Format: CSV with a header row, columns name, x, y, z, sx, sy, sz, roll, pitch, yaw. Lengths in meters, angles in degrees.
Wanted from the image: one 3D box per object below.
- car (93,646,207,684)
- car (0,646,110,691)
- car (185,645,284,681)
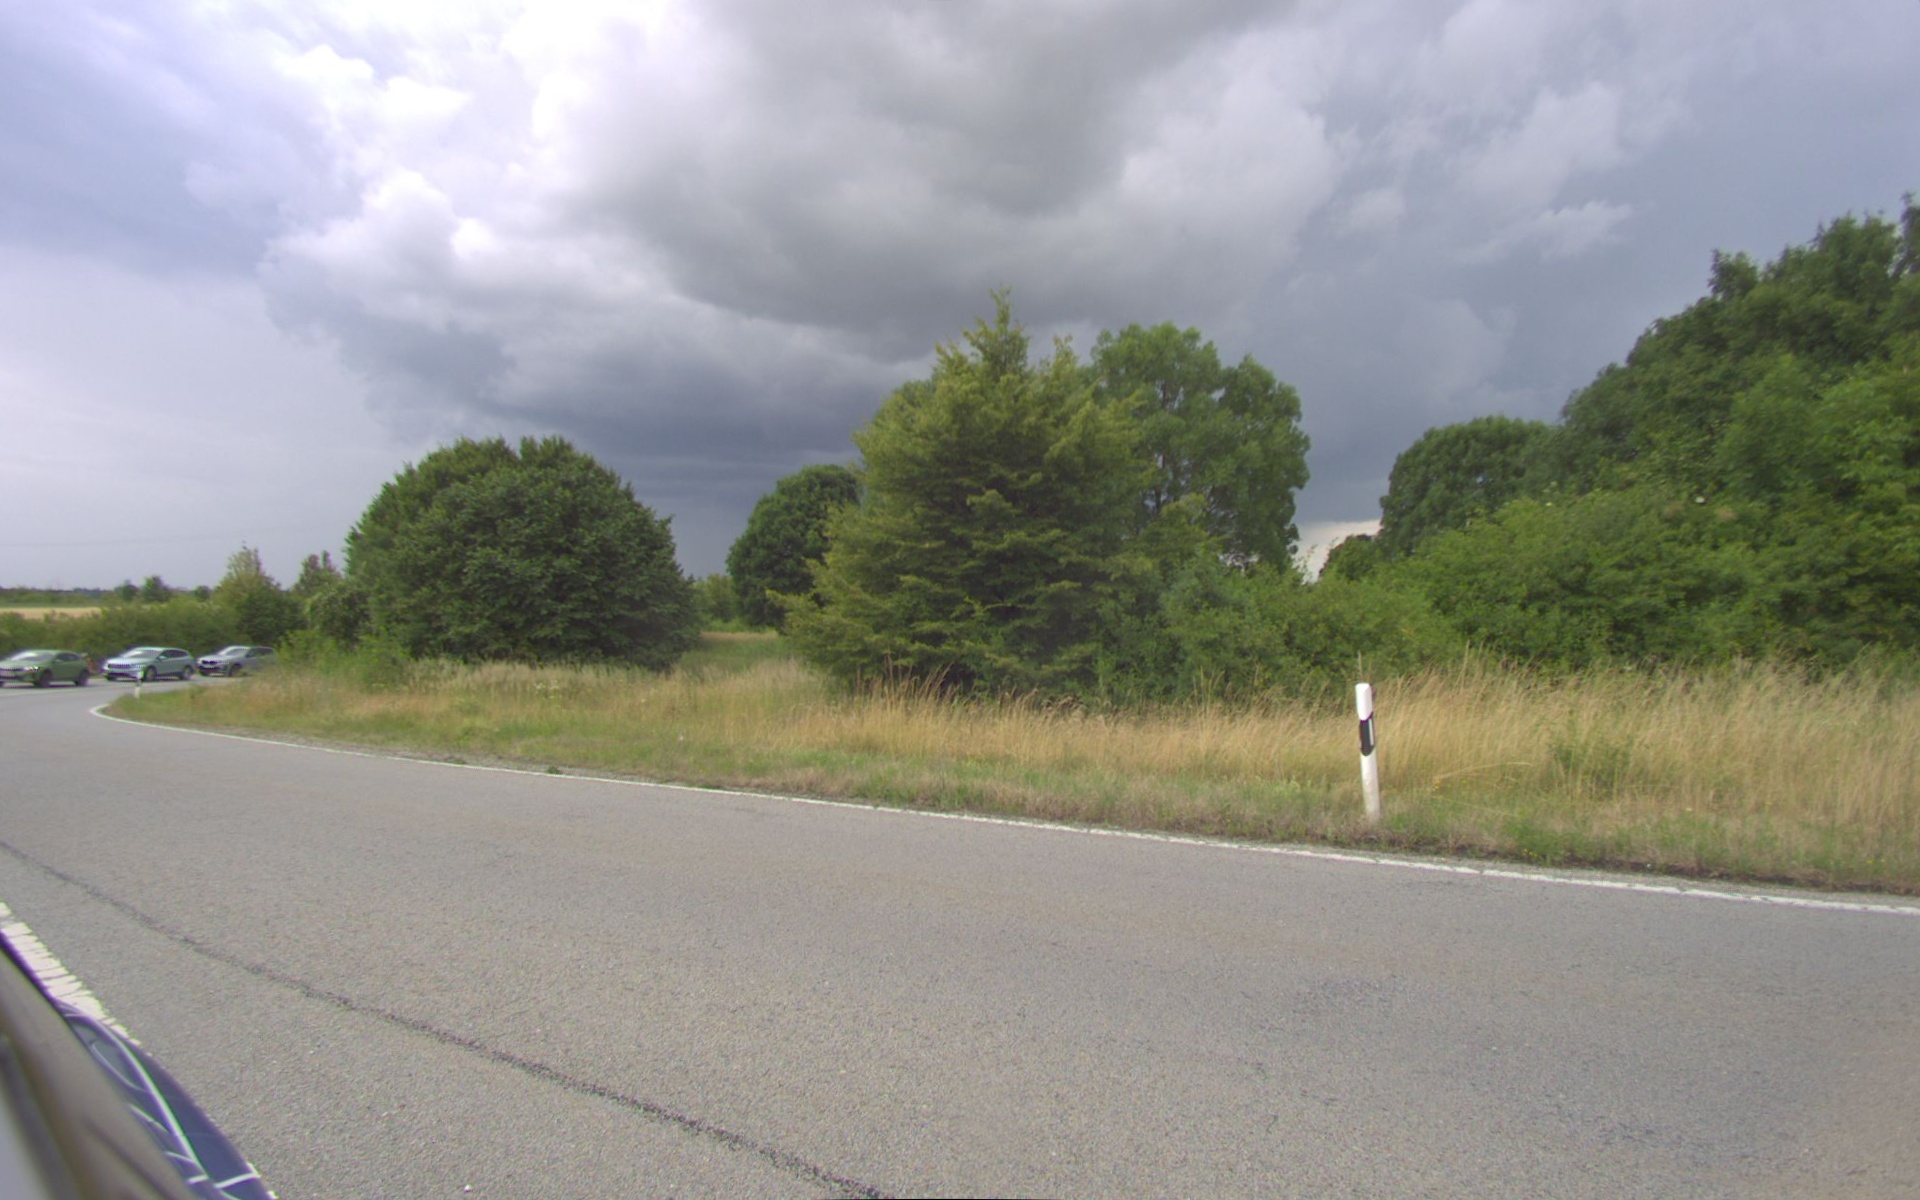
name,x,y,z,sx,sy,sz,roll,pitch,yaw
car,-39.802,3.213,49.946,1.968,1.733,5.217,2,-4,-8
car,-38.030,2.827,42.039,1.967,1.733,5.221,2,-4,-13
car,-40.622,3.507,56.855,1.971,1.732,5.211,2,-1,-3
